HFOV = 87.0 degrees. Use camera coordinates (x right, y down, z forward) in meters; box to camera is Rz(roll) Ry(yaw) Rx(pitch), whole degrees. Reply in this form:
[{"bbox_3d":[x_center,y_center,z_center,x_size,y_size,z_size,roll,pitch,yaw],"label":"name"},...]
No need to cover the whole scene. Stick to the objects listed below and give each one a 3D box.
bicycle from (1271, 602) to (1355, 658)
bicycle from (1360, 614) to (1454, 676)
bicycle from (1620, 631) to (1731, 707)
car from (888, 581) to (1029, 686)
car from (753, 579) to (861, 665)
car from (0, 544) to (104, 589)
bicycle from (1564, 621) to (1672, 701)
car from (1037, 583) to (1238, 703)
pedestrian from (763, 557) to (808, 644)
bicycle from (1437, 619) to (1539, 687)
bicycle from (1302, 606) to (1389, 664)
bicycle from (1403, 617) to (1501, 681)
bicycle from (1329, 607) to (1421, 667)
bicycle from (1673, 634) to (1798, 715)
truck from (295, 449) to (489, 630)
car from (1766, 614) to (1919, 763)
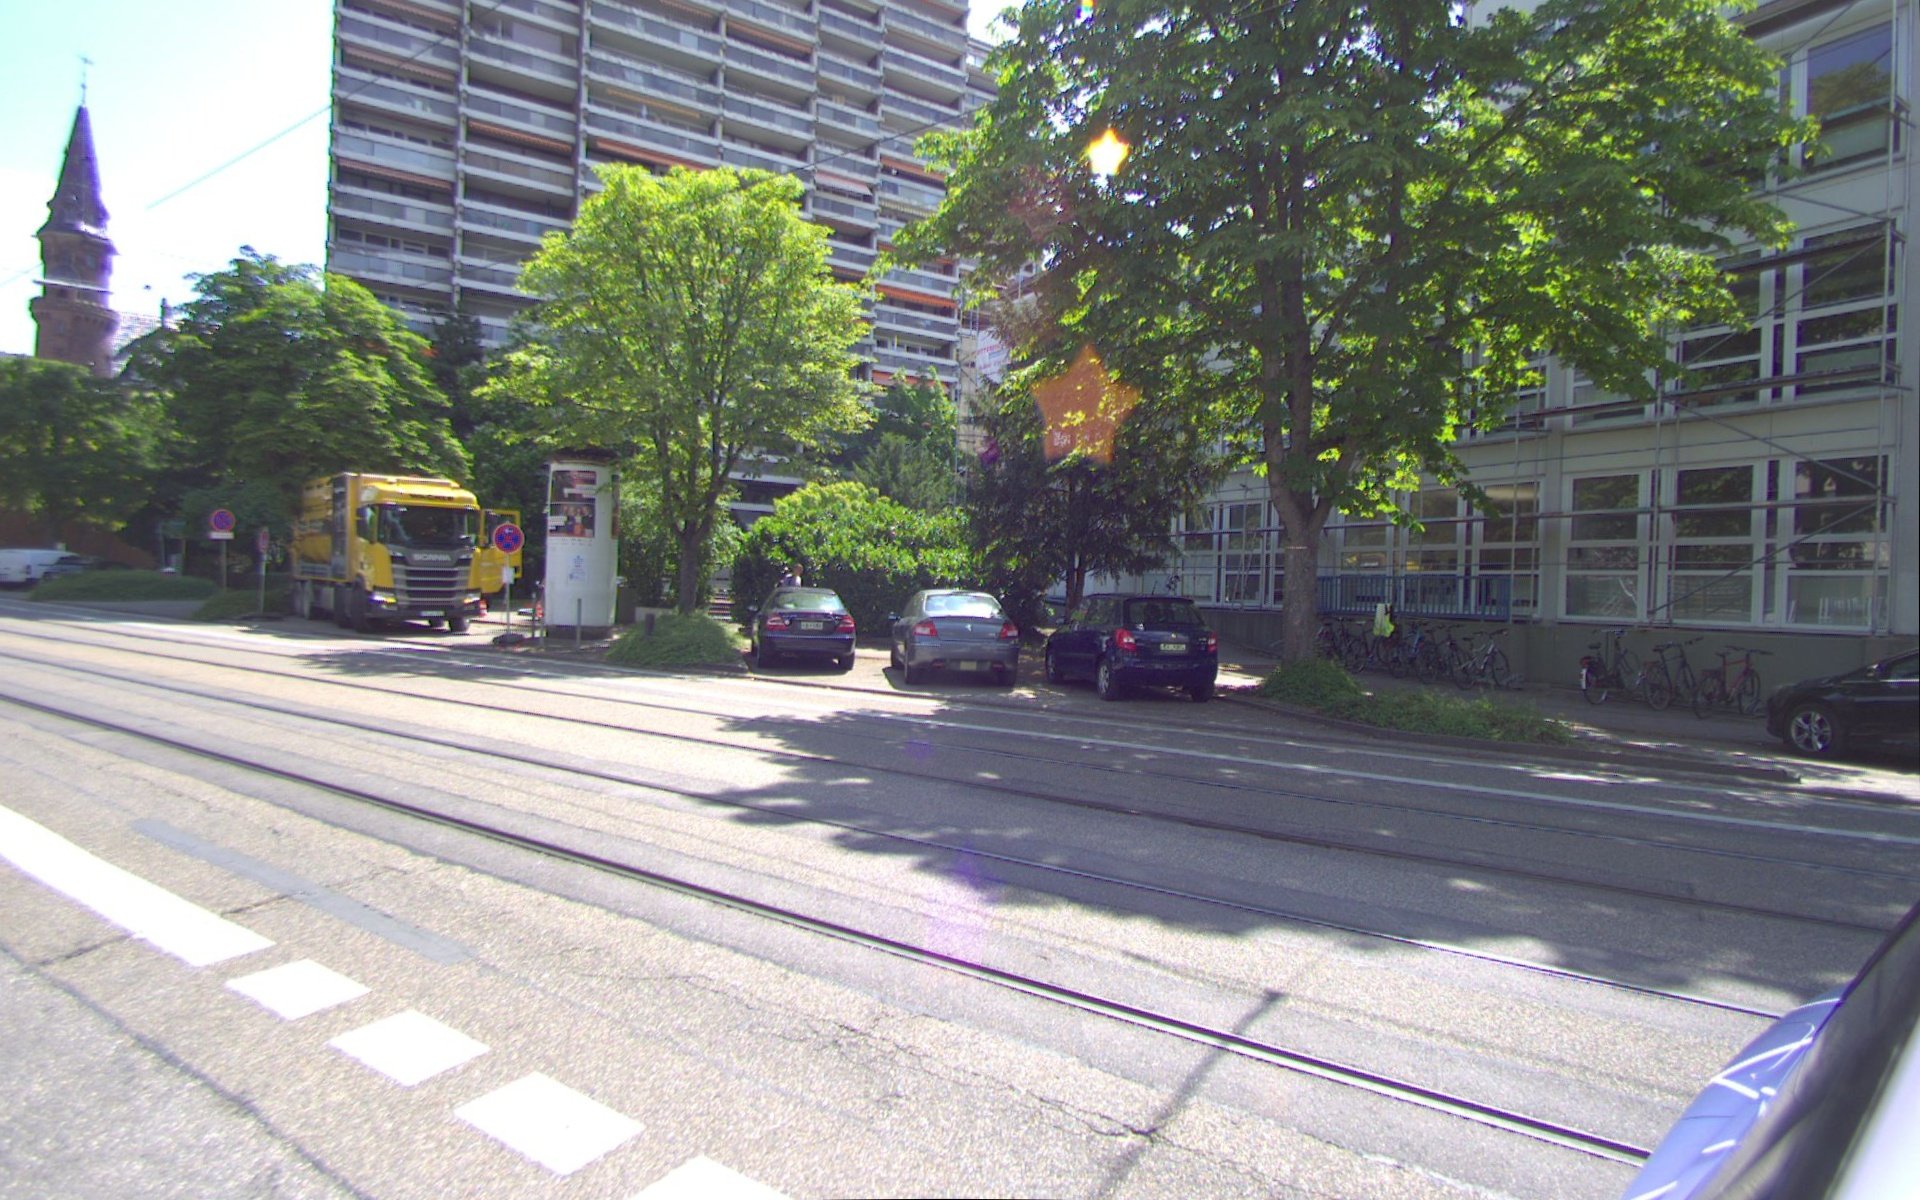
[{"bbox_3d":[7.638,0.648,21.879,1.888,1.145,0.569,2,0,-29],"label":"bicycle"},{"bbox_3d":[8.801,0.896,19.901,1.903,1.145,0.569,2,0,-26],"label":"bicycle"},{"bbox_3d":[11.510,1.109,16.261,1.903,1.145,0.569,2,0,-26],"label":"bicycle"},{"bbox_3d":[-0.154,0.485,16.821,1.783,1.481,4.028,2,0,-7],"label":"car"},{"bbox_3d":[-2.938,0.339,18.771,1.596,1.390,4.031,2,0,-14],"label":"car"},{"bbox_3d":[-40.079,-1.450,44.423,1.799,1.816,4.004,3,0,-4],"label":"car"},{"bbox_3d":[10.961,1.012,16.841,1.903,1.253,0.569,2,0,-26],"label":"bicycle"},{"bbox_3d":[2.510,0.557,15.185,1.615,1.536,3.583,3,0,-13],"label":"car"},{"bbox_3d":[-3.882,0.006,22.528,0.703,1.898,0.576,3,0,-43],"label":"pedestrian"},{"bbox_3d":[9.547,0.964,18.284,1.903,1.144,0.569,2,0,-26],"label":"bicycle"},{"bbox_3d":[8.105,0.736,21.253,1.888,1.145,0.569,2,0,-29],"label":"bicycle"},{"bbox_3d":[9.249,0.925,19.018,1.903,1.145,0.569,2,0,-26],"label":"bicycle"},{"bbox_3d":[8.437,0.754,20.554,1.888,1.145,0.569,2,0,-26],"label":"bicycle"},{"bbox_3d":[11.857,1.137,15.455,2.188,1.145,0.569,2,0,-26],"label":"bicycle"},{"bbox_3d":[-15.583,-1.486,27.278,2.702,4.056,9.734,2,1,-40],"label":"truck"},{"bbox_3d":[10.790,0.961,10.009,1.717,1.488,4.206,2,0,-13],"label":"car"}]
